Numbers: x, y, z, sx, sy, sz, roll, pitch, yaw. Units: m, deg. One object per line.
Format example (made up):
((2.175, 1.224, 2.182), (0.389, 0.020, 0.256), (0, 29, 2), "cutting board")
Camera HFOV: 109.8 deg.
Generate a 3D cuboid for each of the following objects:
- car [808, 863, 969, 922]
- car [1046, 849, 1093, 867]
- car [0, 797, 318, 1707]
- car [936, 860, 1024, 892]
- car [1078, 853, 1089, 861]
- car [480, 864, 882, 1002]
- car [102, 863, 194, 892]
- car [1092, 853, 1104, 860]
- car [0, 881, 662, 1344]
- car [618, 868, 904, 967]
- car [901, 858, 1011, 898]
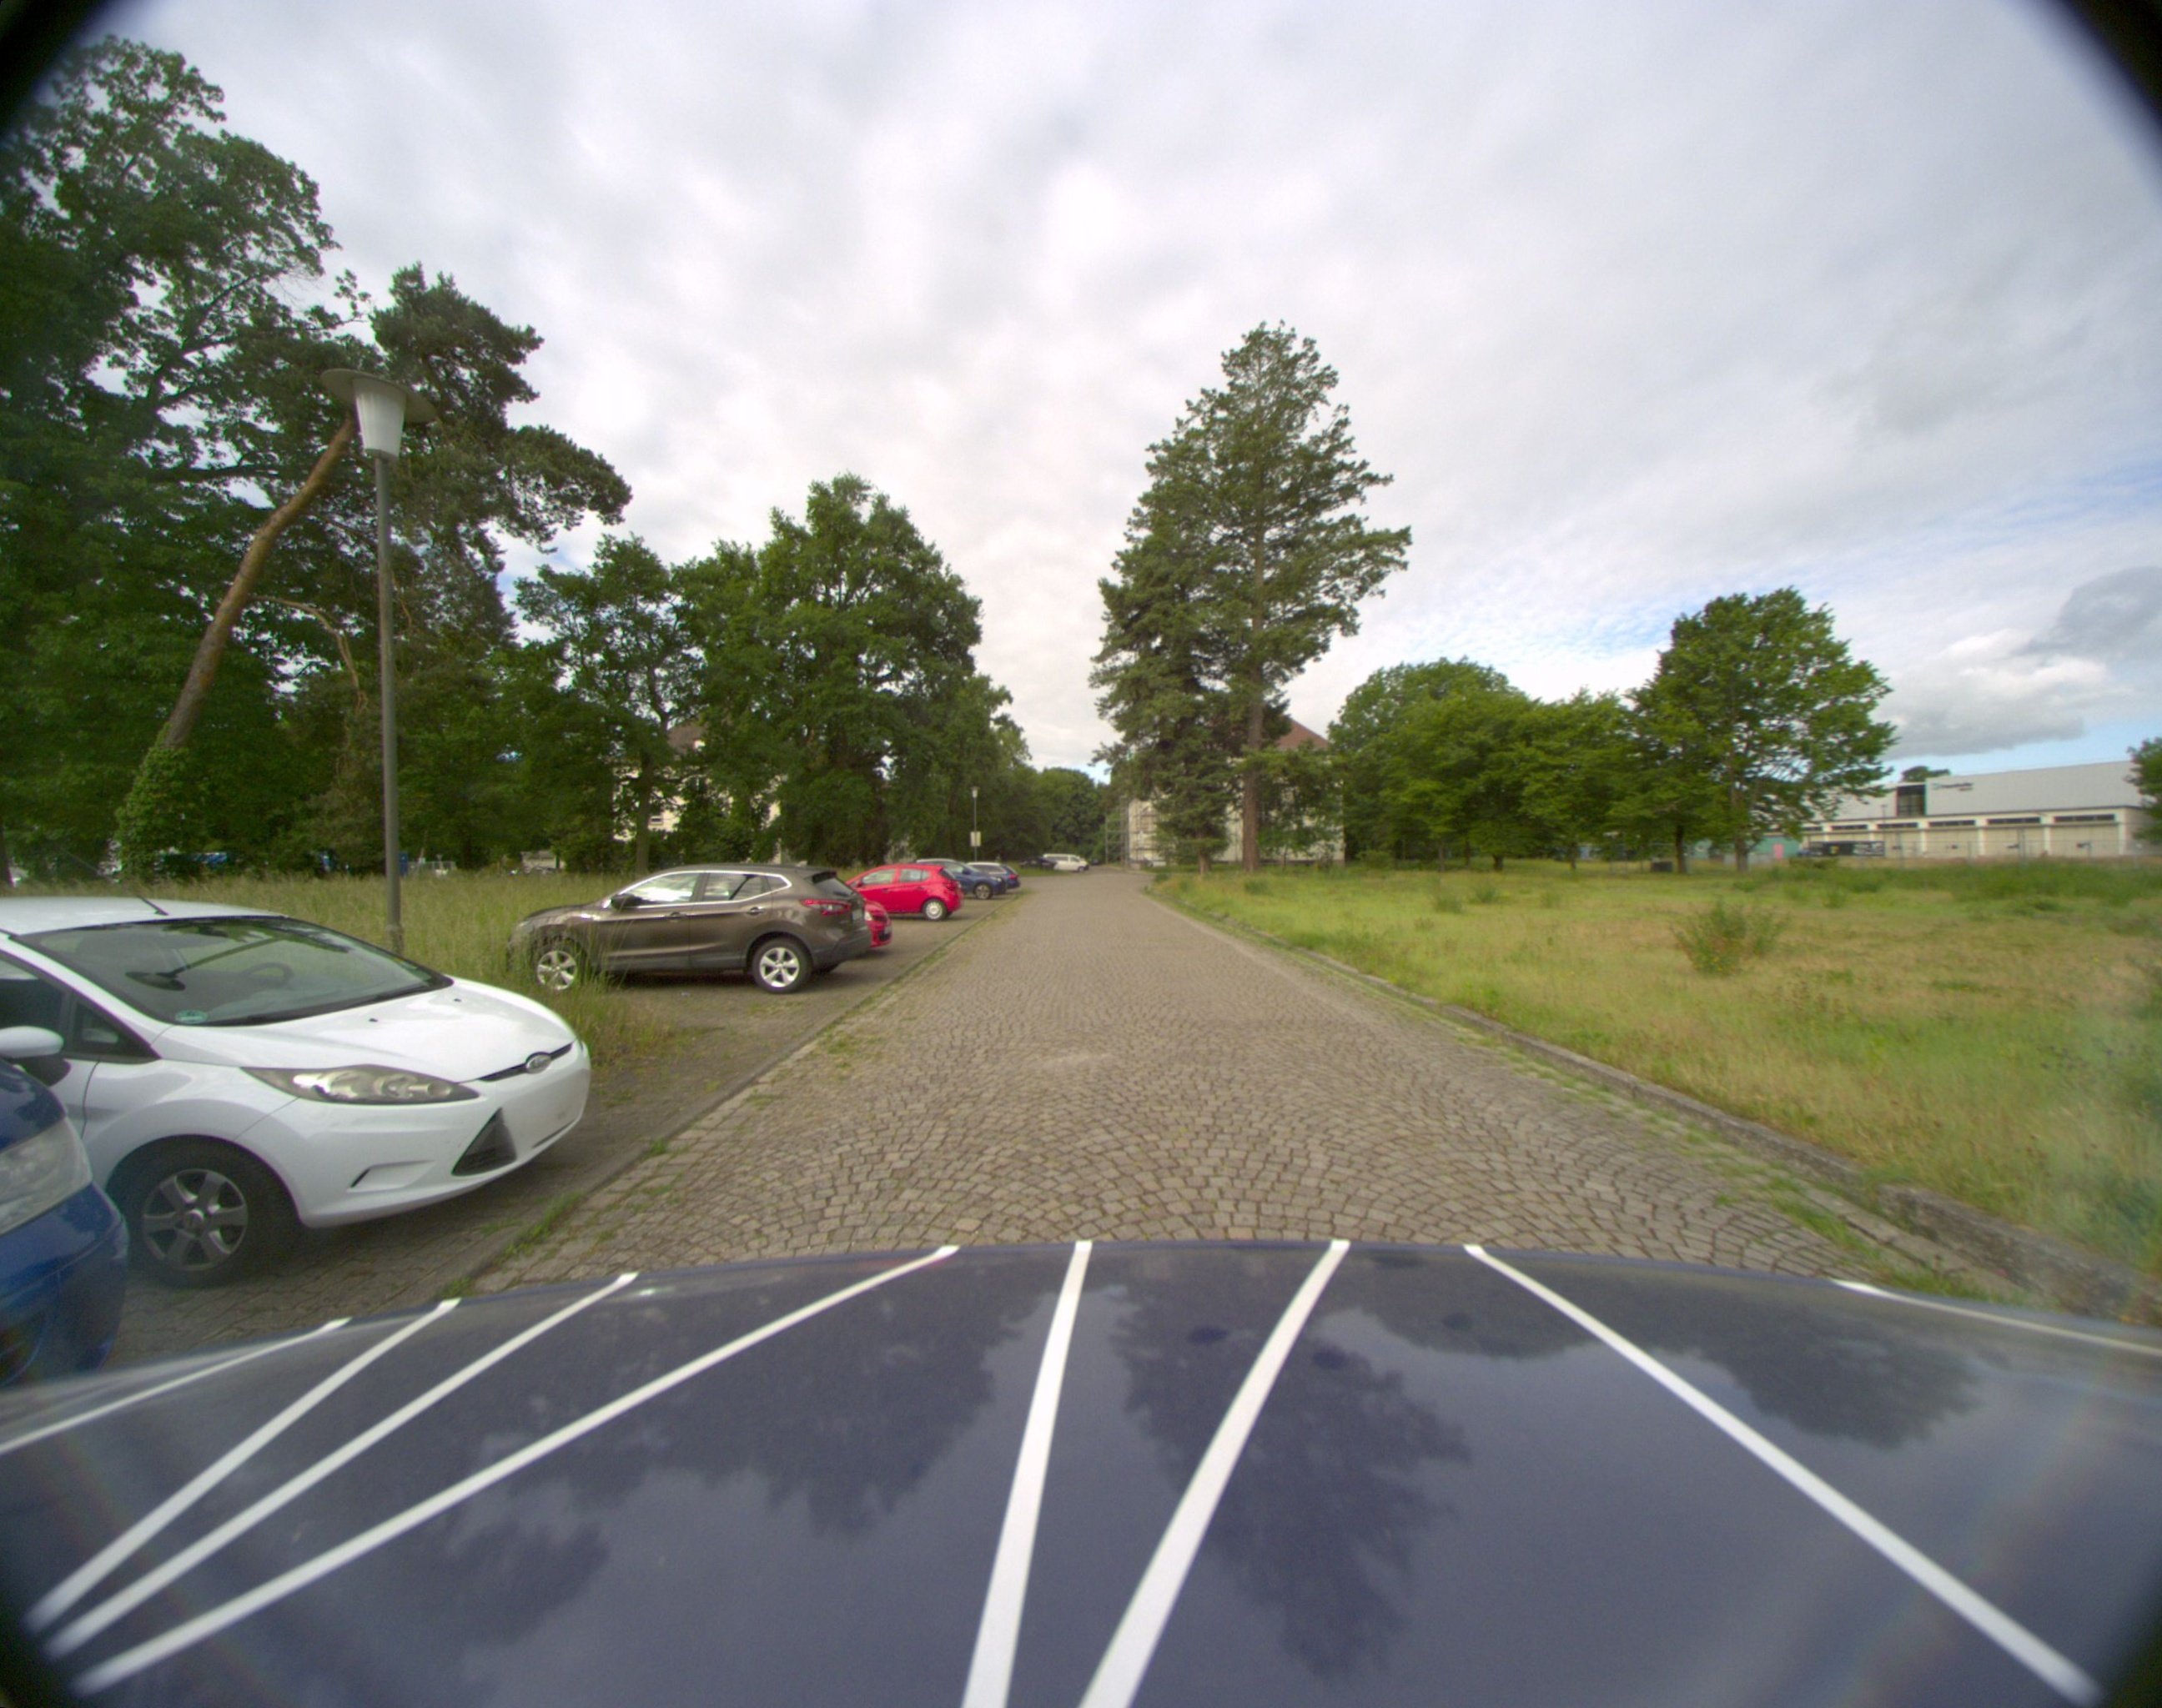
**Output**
((-5.039, 0.992, 20.212), (3.895, 1.451, 1.582), (0, 0, -2), "car")
((-1.286, 0.449, 83.946), (5.141, 1.860, 1.723), (0, 0, -2), "car")
((-4.575, 0.820, 1.104), (4.820, 1.934, 2.003), (1, 0, -2), "car")
((-4.637, 1.010, 35.118), (3.878, 1.417, 1.582), (0, 0, -2), "car")
((0.516, 0.562, 150.376), (1.870, 1.408, 4.694), (1, 0, -5), "car")
((-4.975, 0.957, 9.936), (4.271, 1.589, 1.821), (0, 0, -2), "car")
((-68.888, 1.691, 56.187), (1.999, 2.002, 3.998), (-1, 0, -5), "car")
((3.398, 0.473, 150.945), (1.870, 1.408, 4.694), (1, 0, -5), "car")
((-4.509, 0.988, 3.670), (3.873, 1.463, 1.841), (3, 0, -2), "car")
((-5.163, 0.995, 12.662), (4.016, 1.477, 1.765), (0, 0, 0), "car")
((-4.956, 0.946, 30.455), (4.150, 1.529, 1.582), (0, 0, -2), "car")
